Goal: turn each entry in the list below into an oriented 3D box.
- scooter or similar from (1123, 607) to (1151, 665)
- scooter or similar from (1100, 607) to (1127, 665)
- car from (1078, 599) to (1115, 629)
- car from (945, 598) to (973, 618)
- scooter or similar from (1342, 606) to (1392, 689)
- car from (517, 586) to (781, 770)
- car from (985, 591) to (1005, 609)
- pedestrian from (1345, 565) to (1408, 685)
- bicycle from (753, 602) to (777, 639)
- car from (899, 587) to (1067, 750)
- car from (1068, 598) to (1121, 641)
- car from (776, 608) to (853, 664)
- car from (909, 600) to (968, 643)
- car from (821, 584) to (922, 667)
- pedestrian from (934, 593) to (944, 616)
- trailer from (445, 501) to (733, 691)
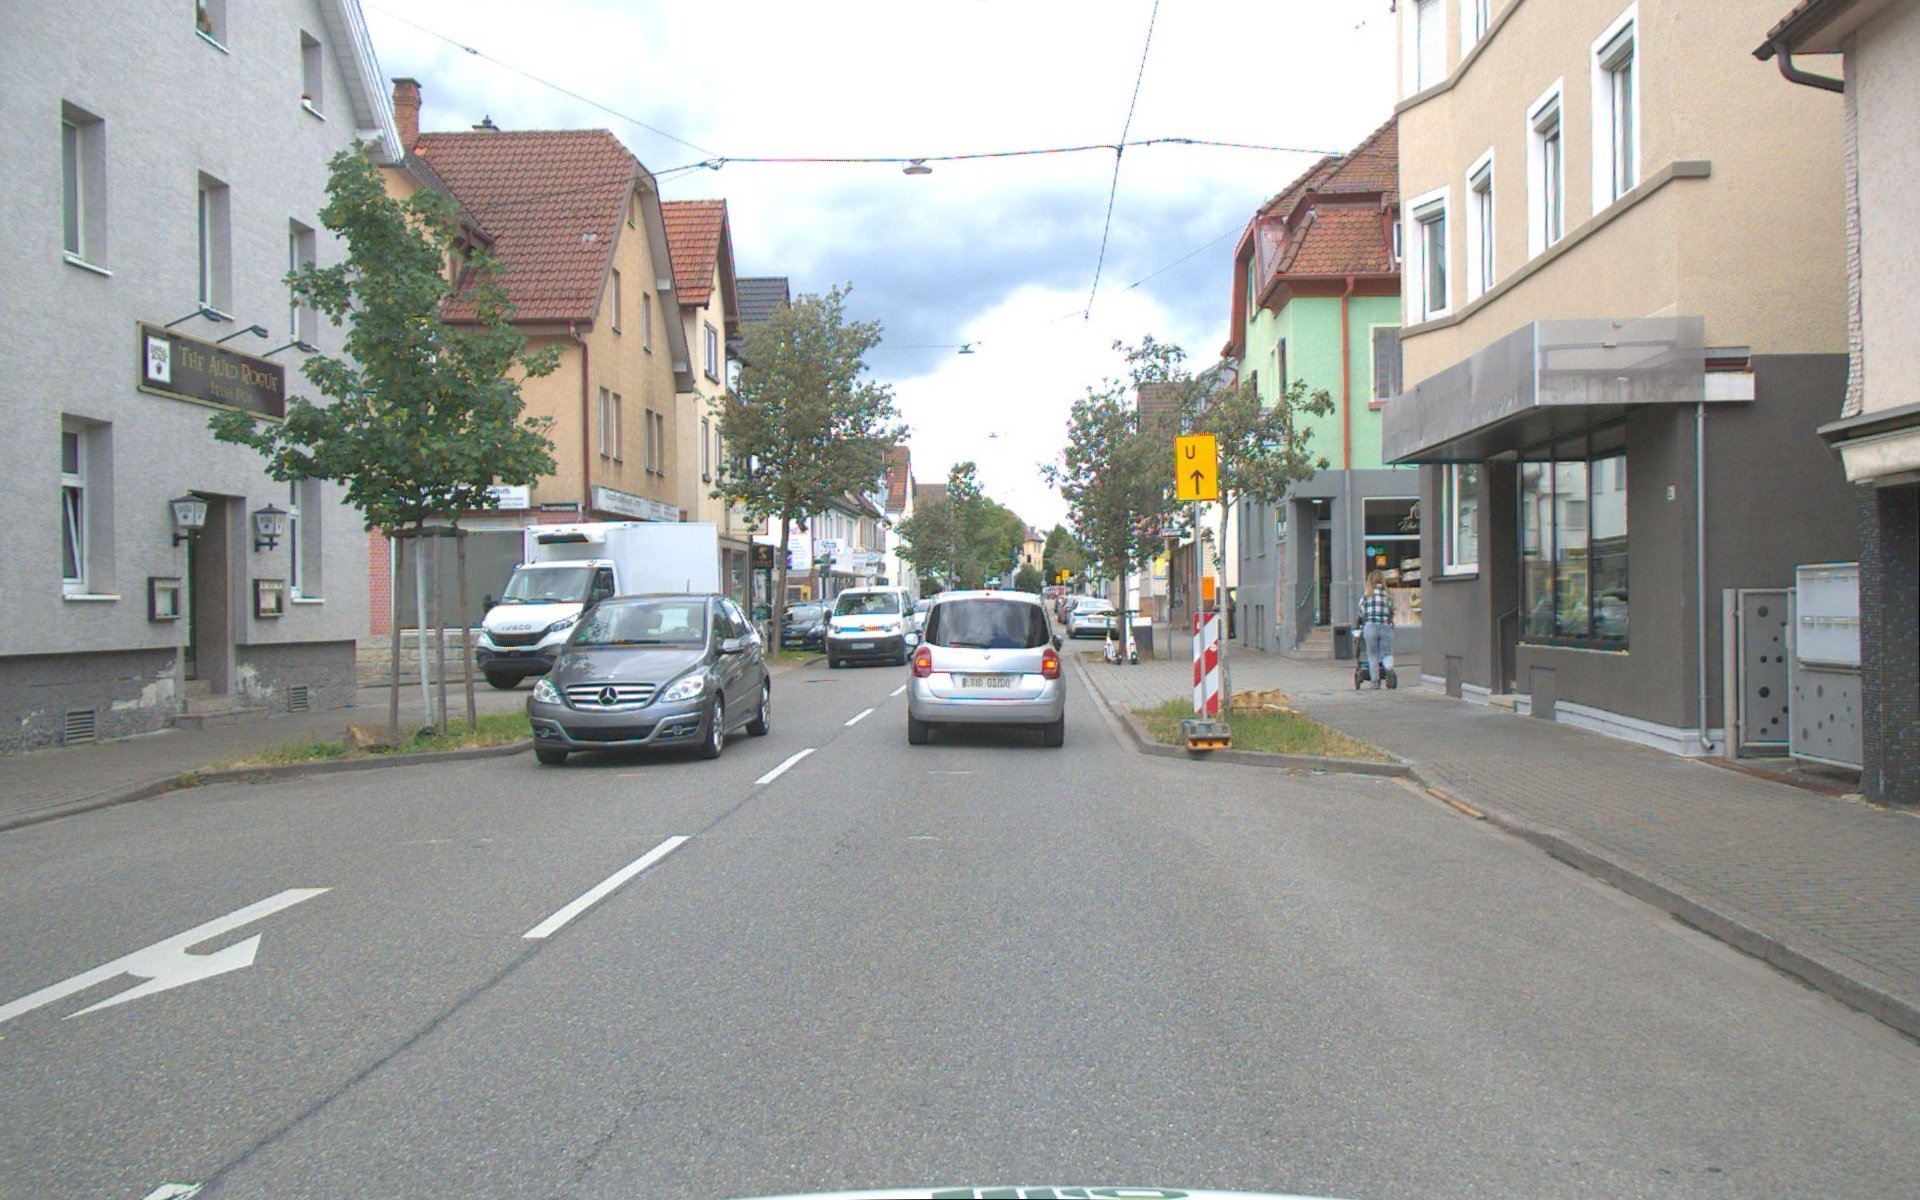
[{"bbox_3d":[3.948,0.797,37.005,0.491,1.257,1.943,0,0,2],"label":"scooter or similar"},{"bbox_3d":[3.425,0.793,37.005,0.491,1.257,1.943,0,0,2],"label":"scooter or similar"},{"bbox_3d":[7.021,0.703,85.341,1.793,1.524,3.995,1,0,3],"label":"car"},{"bbox_3d":[-0.060,0.609,130.803,1.908,1.493,4.518,-3,0,3],"label":"car"},{"bbox_3d":[6.263,0.719,25.505,0.577,1.254,0.891,0,0,2],"label":"scooter or similar"},{"bbox_3d":[-3.039,0.712,17.005,1.743,1.579,4.076,-3,0,2],"label":"car"},{"bbox_3d":[3.734,0.016,175.328,1.861,1.768,4.368,-2,0,3],"label":"car"},{"bbox_3d":[6.192,0.362,24.608,0.734,1.750,0.900,0,0,3],"label":"pedestrian"},{"bbox_3d":[-6.634,0.684,56.308,0.491,1.257,1.943,0,0,2],"label":"bicycle"},{"bbox_3d":[0.350,0.675,18.391,1.647,1.593,3.995,1,0,3],"label":"car"},{"bbox_3d":[4.848,0.678,59.980,1.793,1.471,4.333,1,0,3],"label":"car"},{"bbox_3d":[-4.092,0.993,47.055,1.647,1.449,3.932,-2,0,2],"label":"car"},{"bbox_3d":[-0.749,0.767,60.465,1.804,1.458,4.545,-2,0,3],"label":"car"},{"bbox_3d":[-2.056,0.590,39.637,1.952,1.827,4.278,-2,0,3],"label":"car"},{"bbox_3d":[-1.757,0.372,136.751,0.747,1.822,0.890,0,0,3],"label":"pedestrian"},{"bbox_3d":[-6.967,-0.060,32.266,2.450,3.275,7.140,0,0,15],"label":"trailer"}]
